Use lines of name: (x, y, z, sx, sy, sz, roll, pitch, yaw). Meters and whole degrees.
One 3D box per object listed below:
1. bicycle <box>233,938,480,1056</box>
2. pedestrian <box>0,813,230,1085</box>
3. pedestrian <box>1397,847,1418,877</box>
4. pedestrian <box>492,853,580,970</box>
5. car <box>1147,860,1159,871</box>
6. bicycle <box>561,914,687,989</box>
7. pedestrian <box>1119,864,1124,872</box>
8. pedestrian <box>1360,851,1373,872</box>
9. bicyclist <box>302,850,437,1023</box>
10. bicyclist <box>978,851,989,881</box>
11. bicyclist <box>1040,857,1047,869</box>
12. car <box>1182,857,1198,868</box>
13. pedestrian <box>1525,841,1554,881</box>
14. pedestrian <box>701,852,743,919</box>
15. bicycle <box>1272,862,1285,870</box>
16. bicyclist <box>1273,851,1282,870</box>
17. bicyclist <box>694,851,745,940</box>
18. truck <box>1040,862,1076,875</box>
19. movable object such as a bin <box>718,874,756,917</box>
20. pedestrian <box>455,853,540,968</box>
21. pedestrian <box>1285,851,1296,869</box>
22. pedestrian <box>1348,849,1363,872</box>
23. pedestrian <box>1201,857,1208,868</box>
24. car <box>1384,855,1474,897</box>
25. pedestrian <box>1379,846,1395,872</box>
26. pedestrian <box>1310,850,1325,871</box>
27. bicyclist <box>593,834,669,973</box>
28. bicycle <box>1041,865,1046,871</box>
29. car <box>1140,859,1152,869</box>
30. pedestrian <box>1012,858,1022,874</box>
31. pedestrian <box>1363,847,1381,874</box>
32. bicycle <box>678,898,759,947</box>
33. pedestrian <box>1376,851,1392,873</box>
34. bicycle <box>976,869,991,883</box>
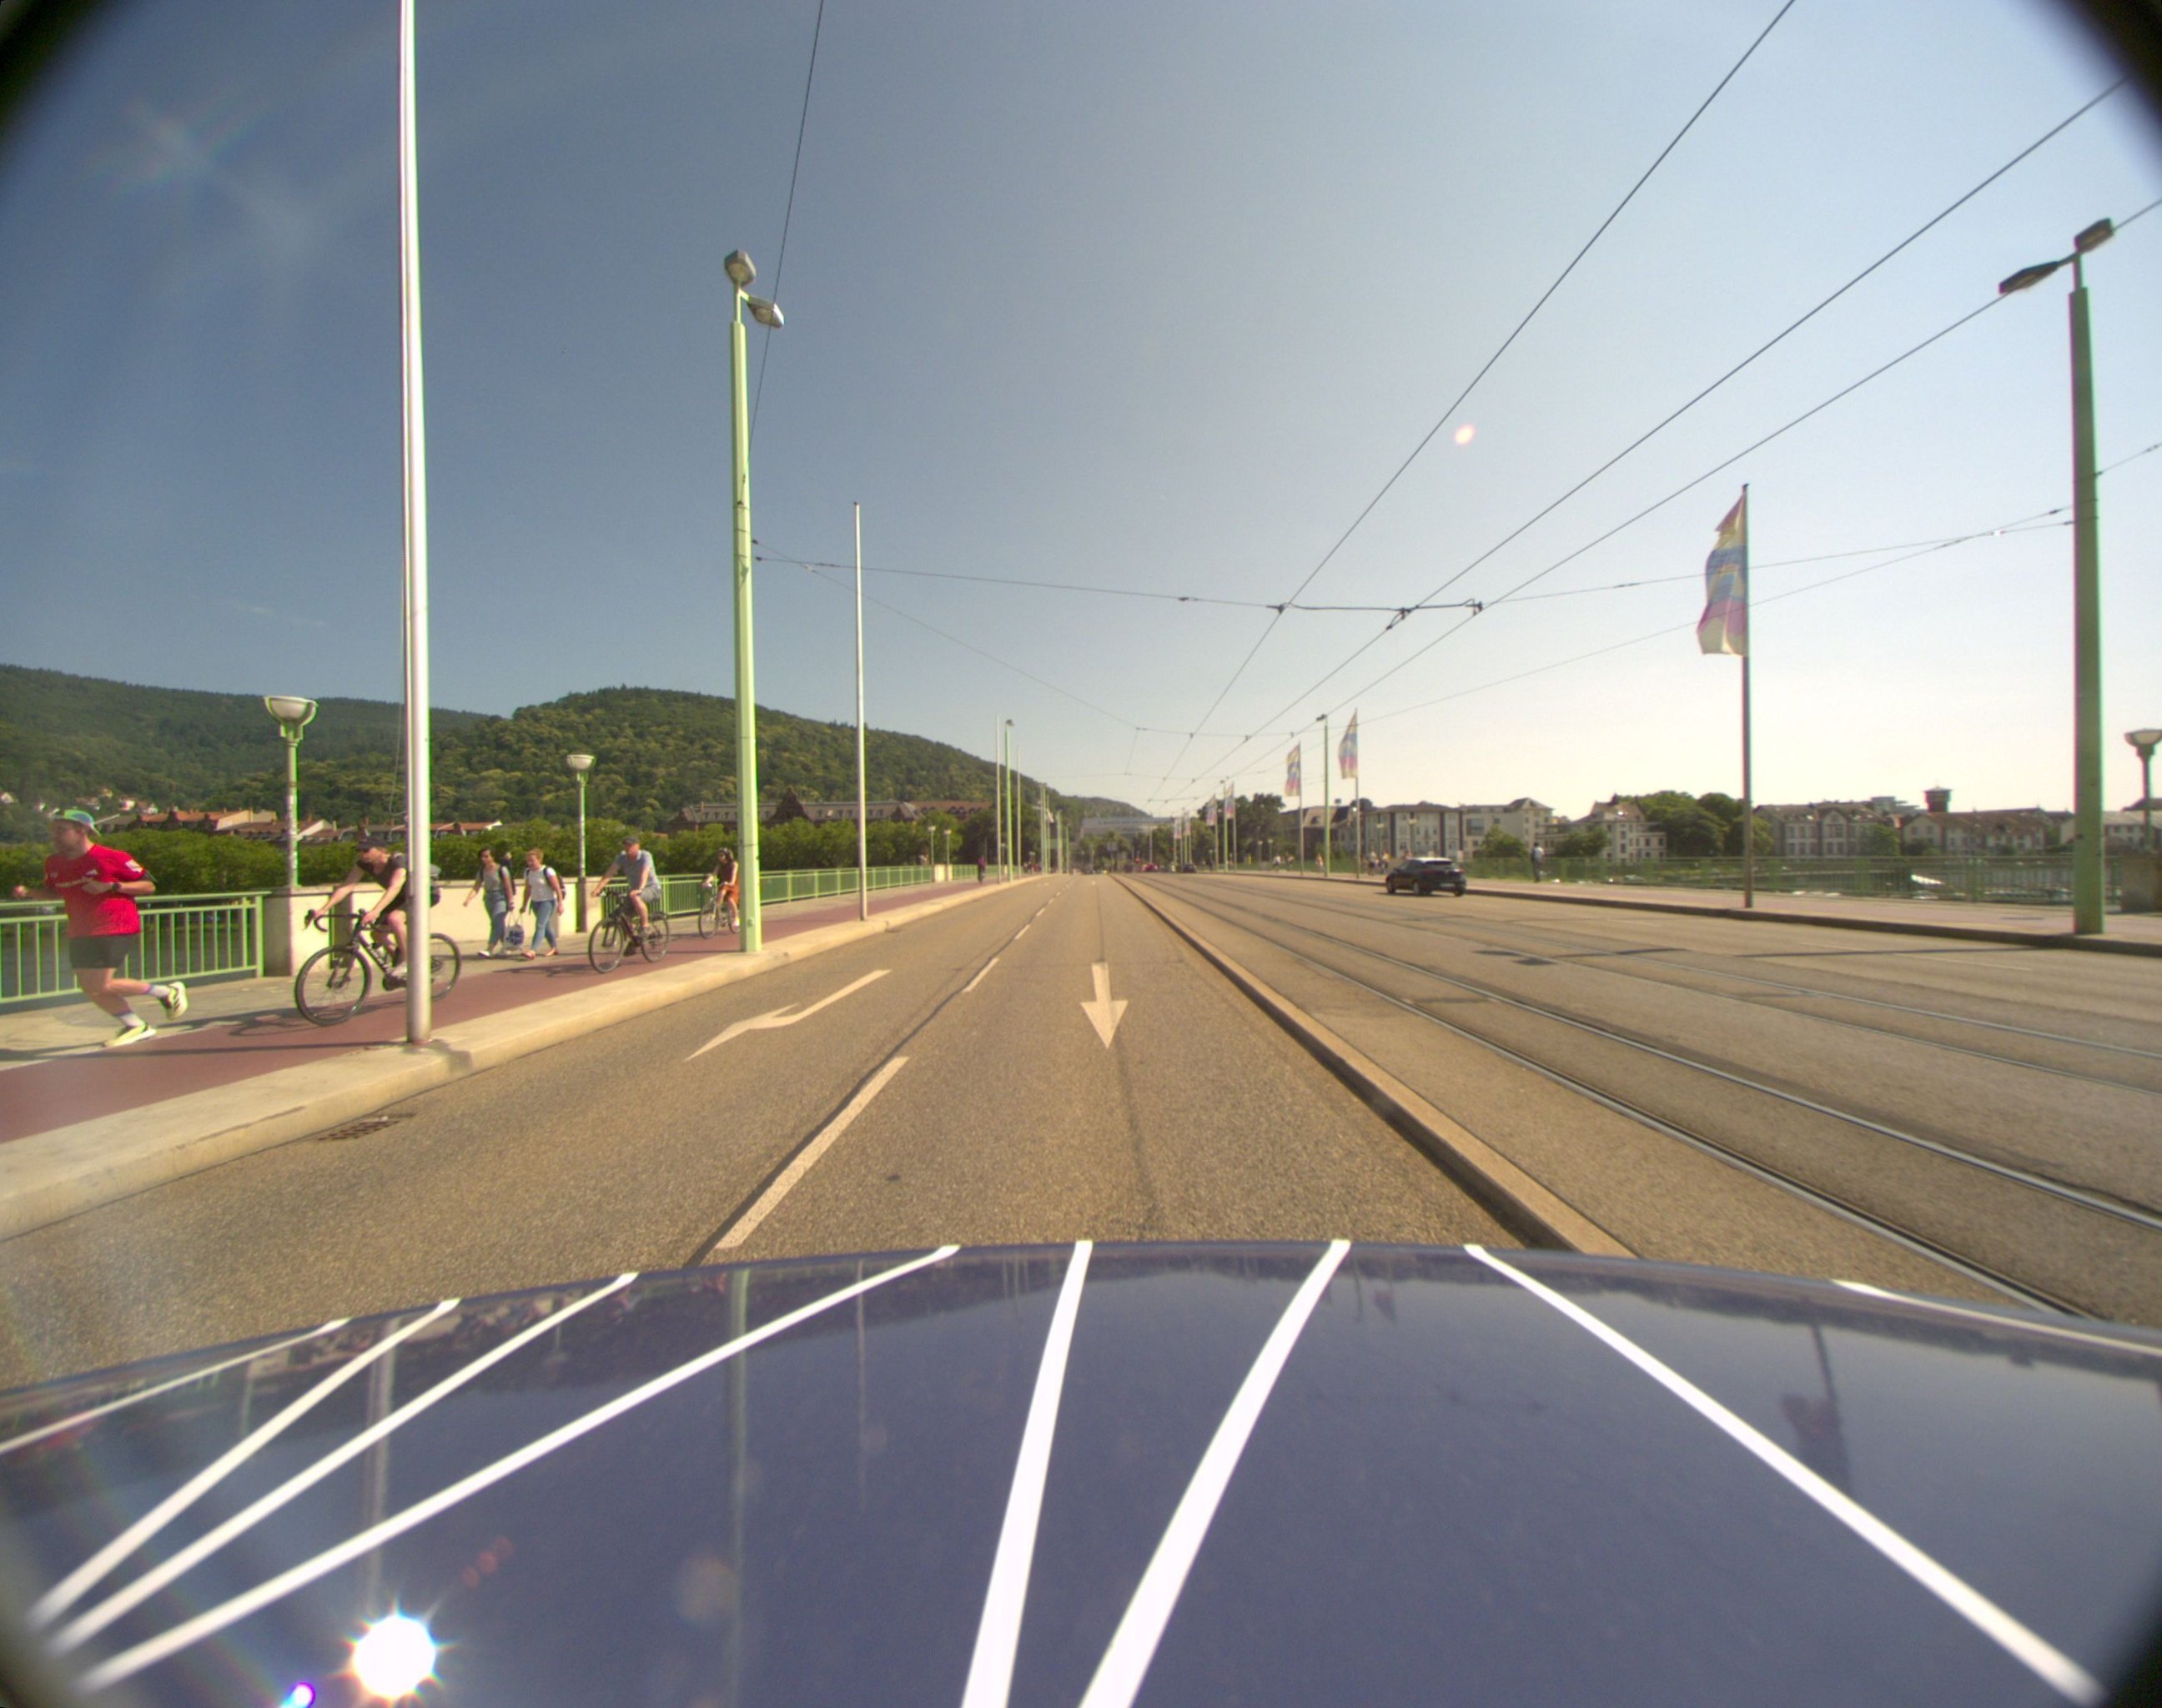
bicycle: (-6.651, 1.272, 7.135, 0.595, 0.761, 1.831, 0, 0, -1)
pedestrian: (-7.686, 0.668, 5.915, 0.813, 1.913, 1.127, 0, 1, 1)
pedestrian: (18.668, 0.453, 43.484, 0.686, 1.680, 1.022, -3, 1, 1)
pedestrian: (-7.940, 0.814, 11.101, 0.664, 1.649, 0.825, 0, 1, 1)
car: (12.464, 1.942, 131.625, 1.714, 1.686, 4.000, -5, 0, 2)
bicycle: (-6.048, 1.257, 10.188, 0.595, 0.761, 1.866, 0, 0, -1)
pedestrian: (10.929, 3.772, 204.429, 1.035, 2.002, 1.201, -3, 2, -12)
pedestrian: (20.372, 0.540, 54.172, 0.547, 1.429, 0.789, -3, 1, 1)
bicyclist: (-6.650, 0.737, 7.133, 0.588, 1.550, 0.702, 0, 1, -1)
bicyclist: (-5.791, 0.685, 45.128, 0.587, 1.759, 0.672, 0, 1, 2)
bicyclist: (-5.088, 1.229, 103.374, 0.731, 1.655, 0.844, -2, 0, 2)
car: (14.601, 1.104, 101.810, 1.672, 1.428, 4.000, -1, 1, 2)
pedestrian: (20.011, 0.296, 33.158, 0.592, 1.690, 1.022, -3, 1, 1)
pedestrian: (-9.233, 0.794, 19.558, 0.664, 1.696, 0.859, 0, 1, 1)
bicycle: (17.929, 1.105, 69.050, 0.667, 0.712, 2.173, -1, 0, 1)
bicyclist: (17.915, 0.597, 69.163, 0.666, 1.641, 0.622, -1, 1, 2)
bicyclist: (-6.820, 0.762, 14.368, 0.606, 1.641, 0.702, 0, 1, 2)
truck: (-5.193, 3.323, 170.845, 7.683, 2.248, 2.663, -5, 0, 5)
movable object such as a bin: (-9.226, 1.103, 20.416, 0.583, 1.084, 0.933, 0, 0, 0)
pedestrian: (-8.625, 0.814, 11.260, 0.669, 1.649, 0.746, 0, 1, 1)
pedestrian: (20.740, 0.581, 75.243, 0.787, 1.690, 1.022, -3, 1, 1)
pedestrian: (19.574, 0.452, 54.133, 0.627, 1.590, 1.022, -3, 0, 1)
pedestrian: (19.232, 1.301, 118.219, 0.787, 1.690, 1.022, -3, 1, 1)
car: (13.166, 0.788, 29.009, 1.720, 1.446, 3.901, 0, 0, 1)
pedestrian: (20.515, 0.357, 50.965, 0.592, 1.690, 1.022, -3, 1, 1)
pedestrian: (19.030, 0.521, 61.145, 0.787, 1.690, 1.022, -3, 1, 1)
bicyclist: (-6.045, 0.639, 10.241, 0.588, 1.809, 0.702, 0, 1, -1)
bicycle: (-5.101, 1.887, 103.295, 0.595, 0.761, 1.866, 0, 0, 1)
car: (12.310, 1.902, 143.920, 1.814, 1.611, 4.000, -5, 0, 2)
pedestrian: (-7.170, 1.334, 84.727, 0.949, 1.653, 1.082, 1, 0, 1)
pedestrian: (18.797, 0.409, 49.121, 0.671, 1.690, 1.022, -3, 1, 1)
bicycle: (-6.824, 1.274, 14.407, 0.595, 0.761, 1.866, 0, 0, 1)
pedestrian: (19.413, 0.510, 48.671, 0.592, 1.406, 1.022, -3, 0, 1)
bicycle: (-5.782, 1.282, 45.144, 0.595, 0.761, 1.866, 0, 0, 1)
